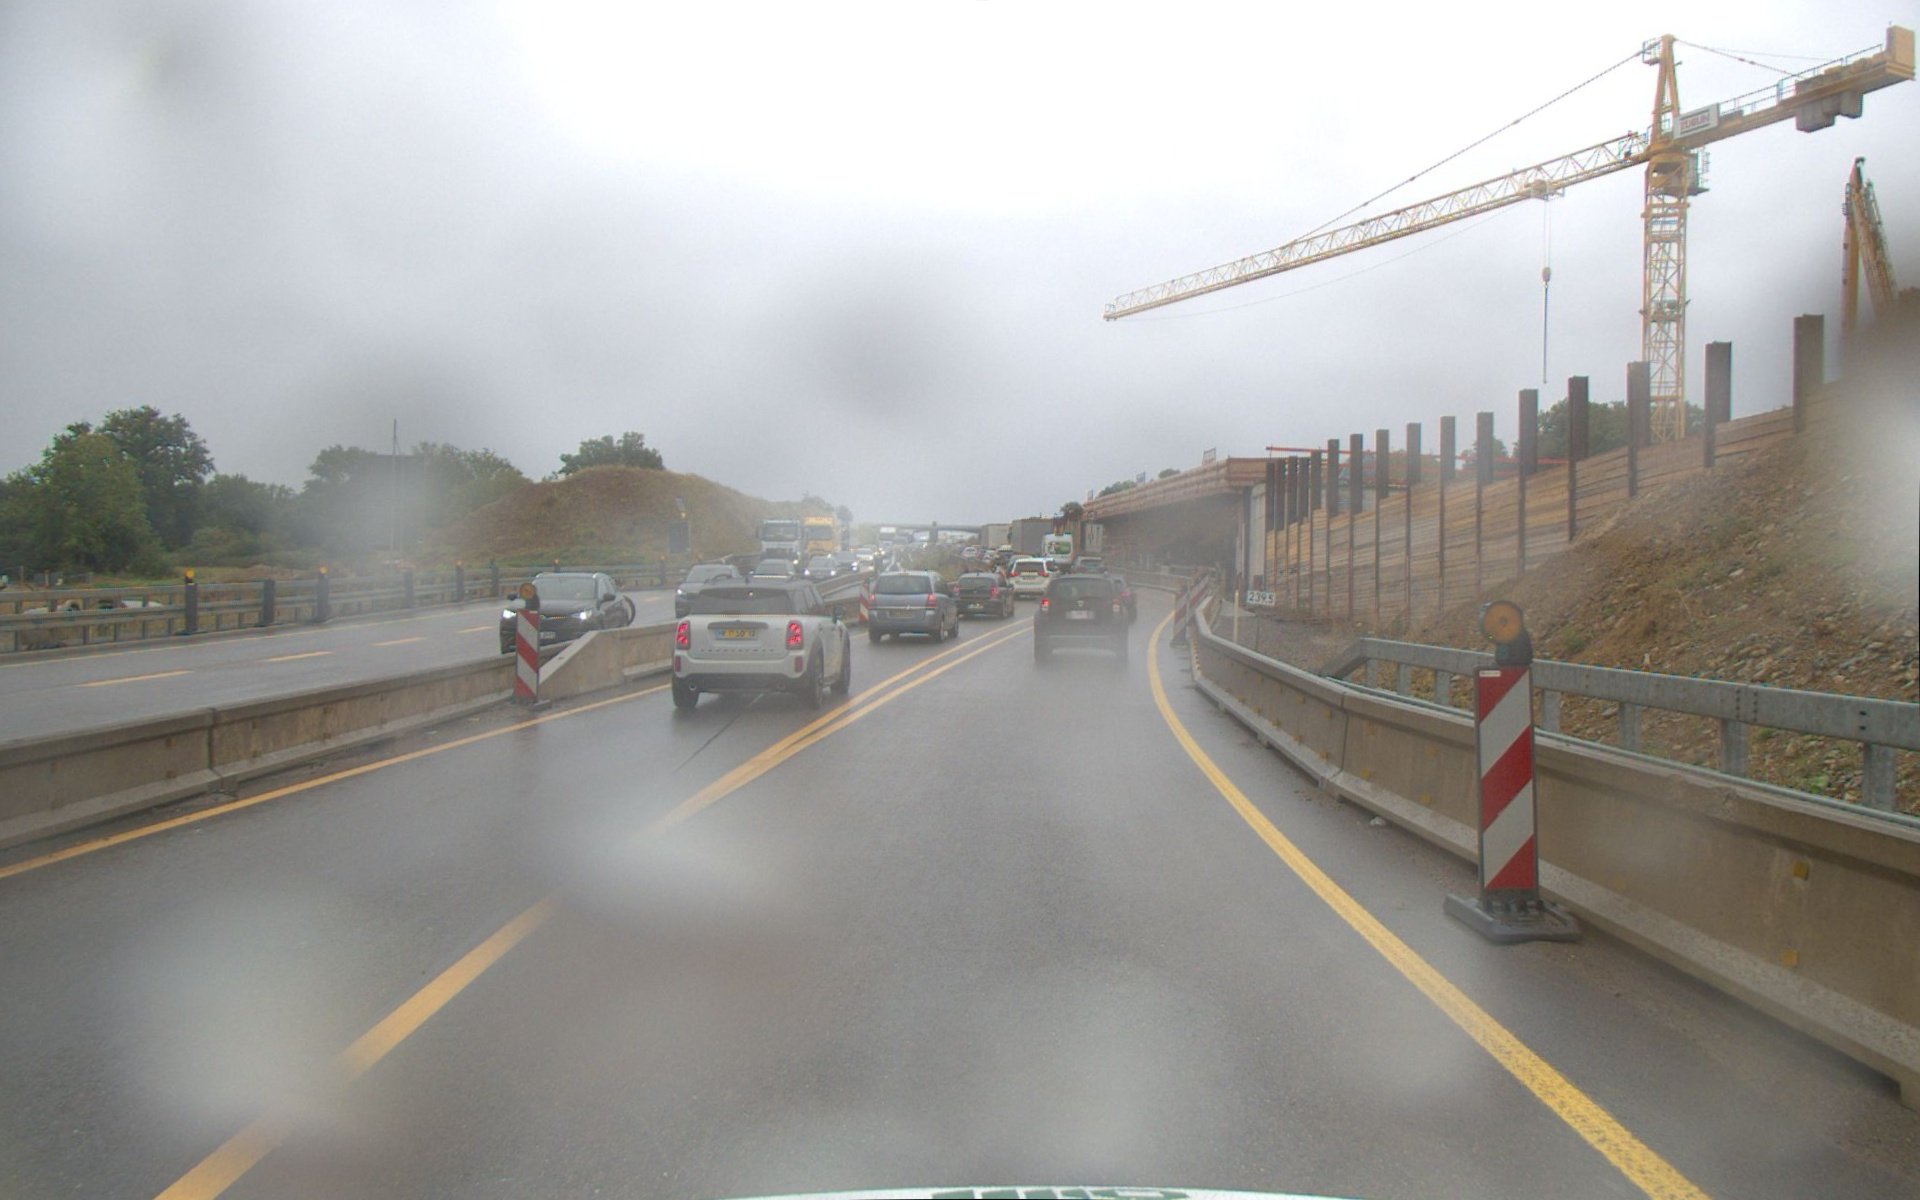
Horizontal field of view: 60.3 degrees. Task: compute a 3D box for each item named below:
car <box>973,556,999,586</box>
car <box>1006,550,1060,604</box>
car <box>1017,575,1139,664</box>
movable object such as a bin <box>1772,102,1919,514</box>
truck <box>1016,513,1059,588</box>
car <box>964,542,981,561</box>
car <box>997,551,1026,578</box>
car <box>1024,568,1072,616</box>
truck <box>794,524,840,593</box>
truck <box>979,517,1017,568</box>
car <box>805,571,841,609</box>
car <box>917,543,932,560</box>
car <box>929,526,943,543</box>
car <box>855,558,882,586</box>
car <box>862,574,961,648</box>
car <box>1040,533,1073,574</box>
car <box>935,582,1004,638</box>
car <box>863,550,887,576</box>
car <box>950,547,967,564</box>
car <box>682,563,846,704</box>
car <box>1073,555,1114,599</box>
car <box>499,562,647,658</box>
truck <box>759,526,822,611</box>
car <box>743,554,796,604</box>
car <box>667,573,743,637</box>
[{"bbox_3d":[2.146,-2.339,135.511,1.952,2.201,4.141,0,-2,3],"label":"car"},{"bbox_3d":[3.000,-0.922,68.939,1.953,2.049,3.891,0,-2,-2],"label":"car"},{"bbox_3d":[2.229,0.436,32.374,2.039,1.629,4.139,0,-2,-1],"label":"car"},{"bbox_3d":[29.694,-8.720,52.445,4.617,11.033,10.310,0,-2,13],"label":"movable object such as a bin"},{"bbox_3d":[6.401,-3.933,135.234,3.036,5.522,9.448,0,-2,6],"label":"truck"},{"bbox_3d":[1.435,-5.521,187.899,1.812,1.927,4.020,0,-2,-1],"label":"car"},{"bbox_3d":[3.725,-2.571,120.153,1.953,1.792,3.813,0,-2,-1],"label":"car"},{"bbox_3d":[4.398,-0.380,82.031,1.951,2.201,4.143,0,-2,9],"label":"car"},{"bbox_3d":[-11.898,-3.390,137.982,3.078,5.513,8.521,1,0,-1],"label":"truck"},{"bbox_3d":[4.397,-6.760,196.526,3.727,5.132,12.913,0,-2,-2],"label":"truck"},{"bbox_3d":[-7.201,-0.512,87.155,1.590,1.842,3.636,0,-2,-1],"label":"car"},{"bbox_3d":[-4.678,-6.427,218.950,1.953,2.049,3.998,0,-2,-2],"label":"car"},{"bbox_3d":[-3.374,-9.209,233.125,1.953,2.049,3.998,0,-2,-2],"label":"car"},{"bbox_3d":[-8.140,-2.489,147.625,2.193,2.400,4.876,1,0,-1],"label":"car"},{"bbox_3d":[-1.086,0.305,39.313,1.952,1.629,4.142,0,-2,4],"label":"car"},{"bbox_3d":[6.700,-3.213,115.183,1.953,2.528,4.980,0,-2,-1],"label":"car"},{"bbox_3d":[0.258,0.342,52.315,1.954,1.629,4.137,0,-2,-3],"label":"car"},{"bbox_3d":[-8.378,-3.585,163.076,2.171,2.412,4.663,1,0,-1],"label":"car"},{"bbox_3d":[-0.179,-5.544,207.532,1.953,2.049,3.998,0,0,-2],"label":"car"},{"bbox_3d":[-2.426,0.445,21.407,1.779,1.628,4.305,0,-2,-3],"label":"car"},{"bbox_3d":[7.287,-1.212,90.808,1.952,2.201,4.140,0,-2,0],"label":"car"},{"bbox_3d":[-7.488,0.167,32.556,1.702,1.714,5.550,1,0,-1],"label":"car"},{"bbox_3d":[-10.341,-1.837,101.730,3.020,5.006,8.562,1,0,-1],"label":"truck"},{"bbox_3d":[-7.843,-0.848,68.441,1.749,1.842,4.497,0,-2,-1],"label":"car"},{"bbox_3d":[-7.965,0.201,52.000,1.749,1.842,4.497,0,-2,-1],"label":"car"}]
